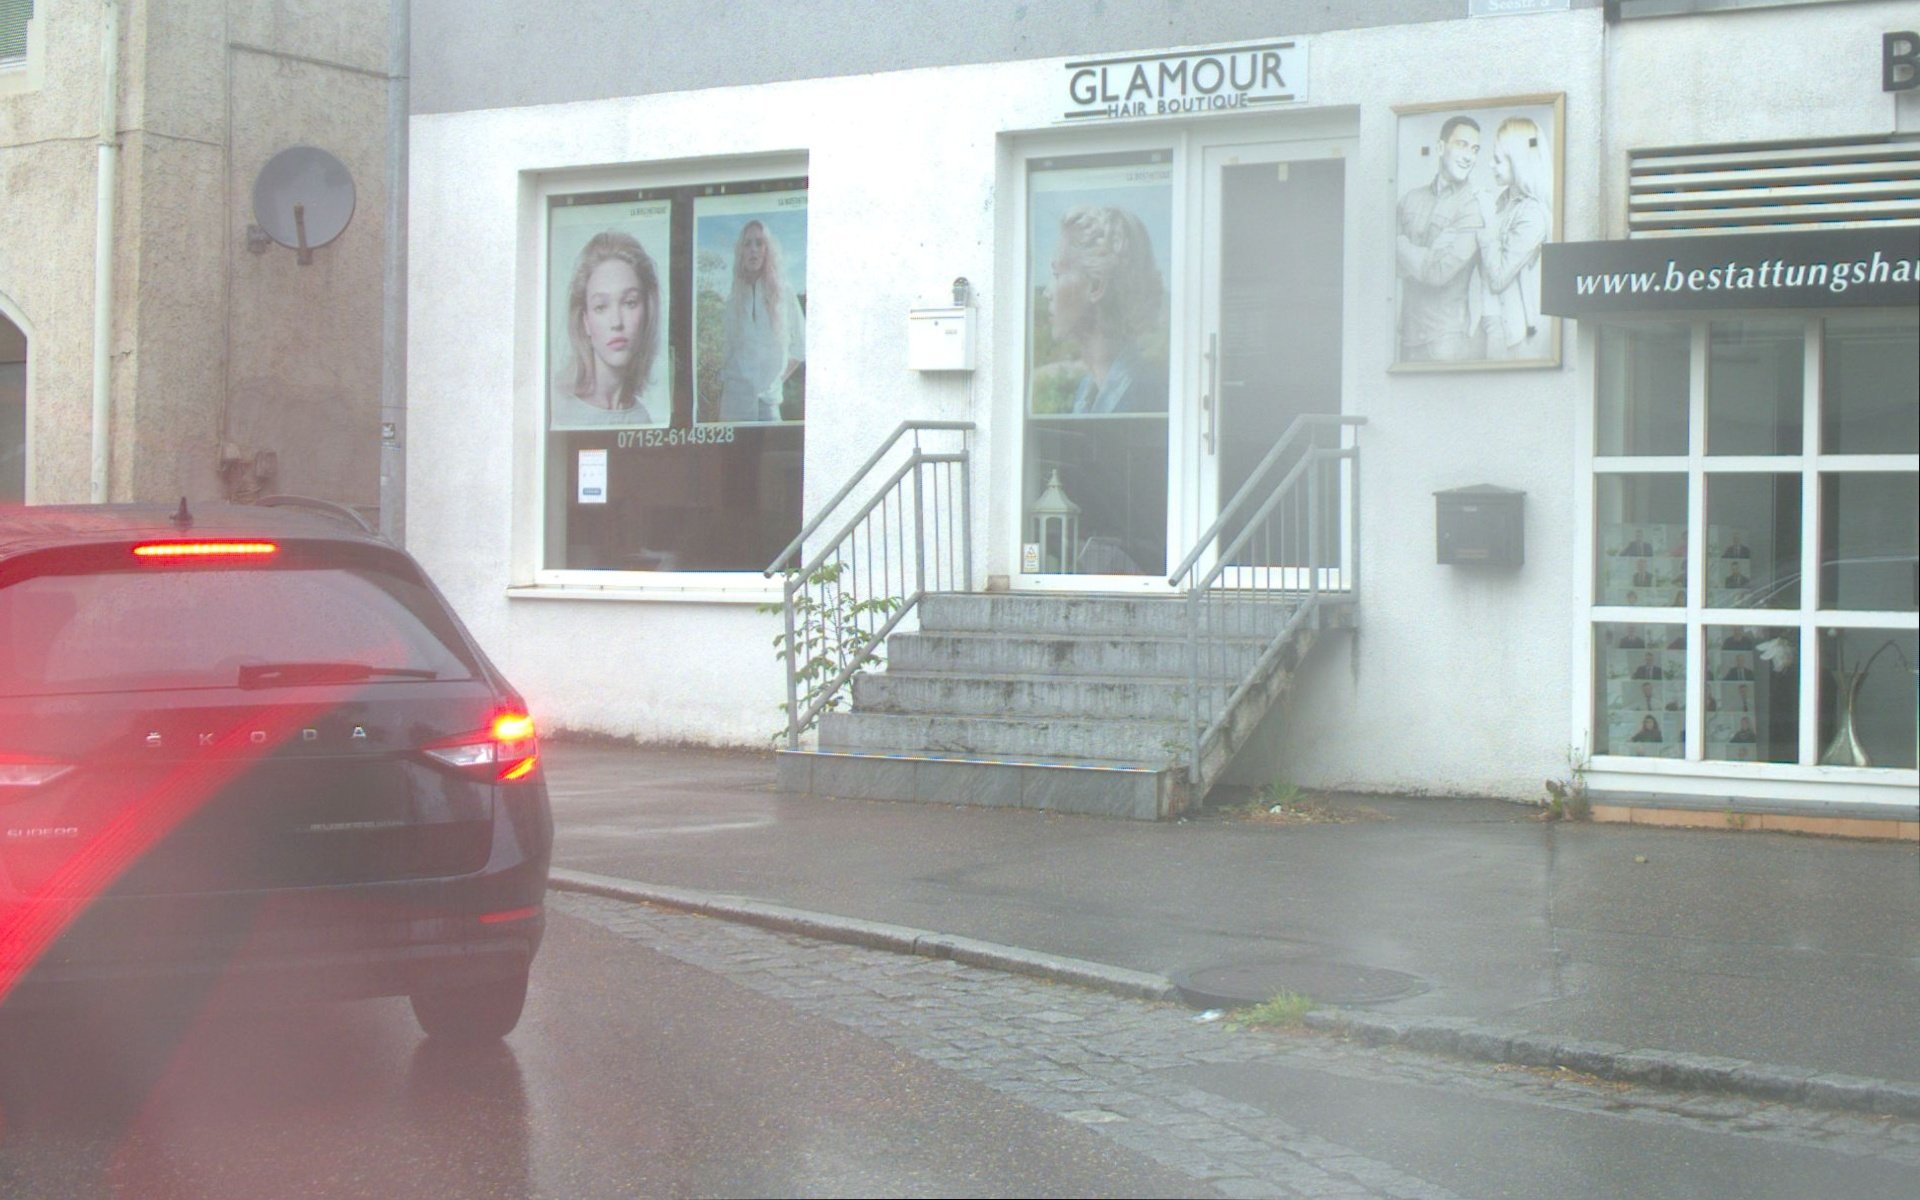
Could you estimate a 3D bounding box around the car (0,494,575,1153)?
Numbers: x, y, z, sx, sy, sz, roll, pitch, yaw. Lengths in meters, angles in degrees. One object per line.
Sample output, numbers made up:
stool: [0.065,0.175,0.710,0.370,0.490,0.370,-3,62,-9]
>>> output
car: [-2.558,0.447,9.994,1.732,1.445,4.243,-1,3,-23]
